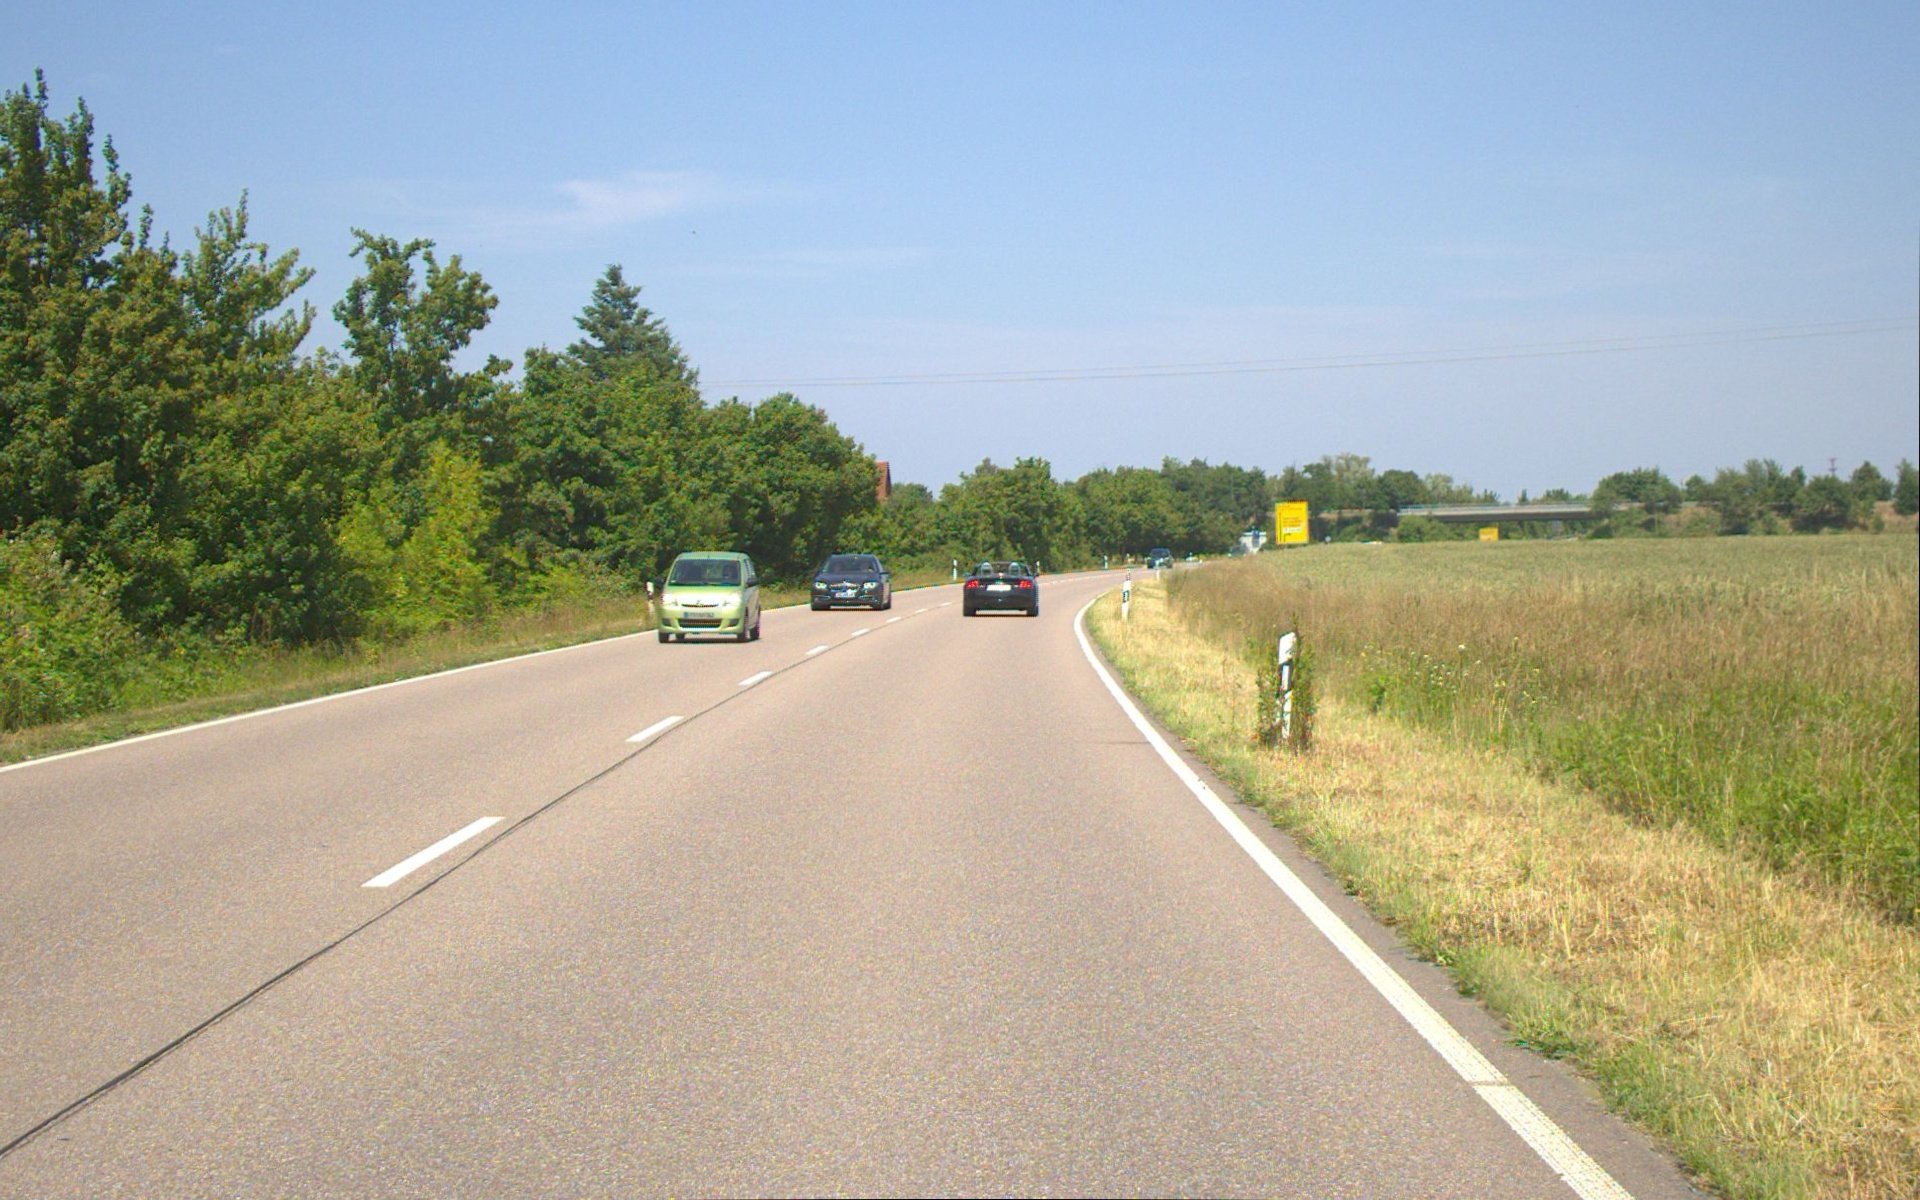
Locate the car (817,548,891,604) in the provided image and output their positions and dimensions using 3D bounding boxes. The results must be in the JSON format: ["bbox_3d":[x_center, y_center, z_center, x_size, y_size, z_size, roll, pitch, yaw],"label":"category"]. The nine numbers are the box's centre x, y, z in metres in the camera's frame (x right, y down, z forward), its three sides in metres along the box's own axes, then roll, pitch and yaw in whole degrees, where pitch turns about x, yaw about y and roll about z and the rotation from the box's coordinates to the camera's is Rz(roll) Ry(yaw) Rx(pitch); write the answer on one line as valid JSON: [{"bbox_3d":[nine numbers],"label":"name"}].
[{"bbox_3d":[-2.764,-0.652,90.725,1.800,1.445,4.533,0,1,0],"label":"car"}]

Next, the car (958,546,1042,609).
[{"bbox_3d":[0.971,-0.548,82.075,1.814,1.436,4.000,1,1,3],"label":"car"}]

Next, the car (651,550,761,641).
[{"bbox_3d":[-4.320,-0.103,58.841,1.496,1.490,3.832,0,1,2],"label":"car"}]
